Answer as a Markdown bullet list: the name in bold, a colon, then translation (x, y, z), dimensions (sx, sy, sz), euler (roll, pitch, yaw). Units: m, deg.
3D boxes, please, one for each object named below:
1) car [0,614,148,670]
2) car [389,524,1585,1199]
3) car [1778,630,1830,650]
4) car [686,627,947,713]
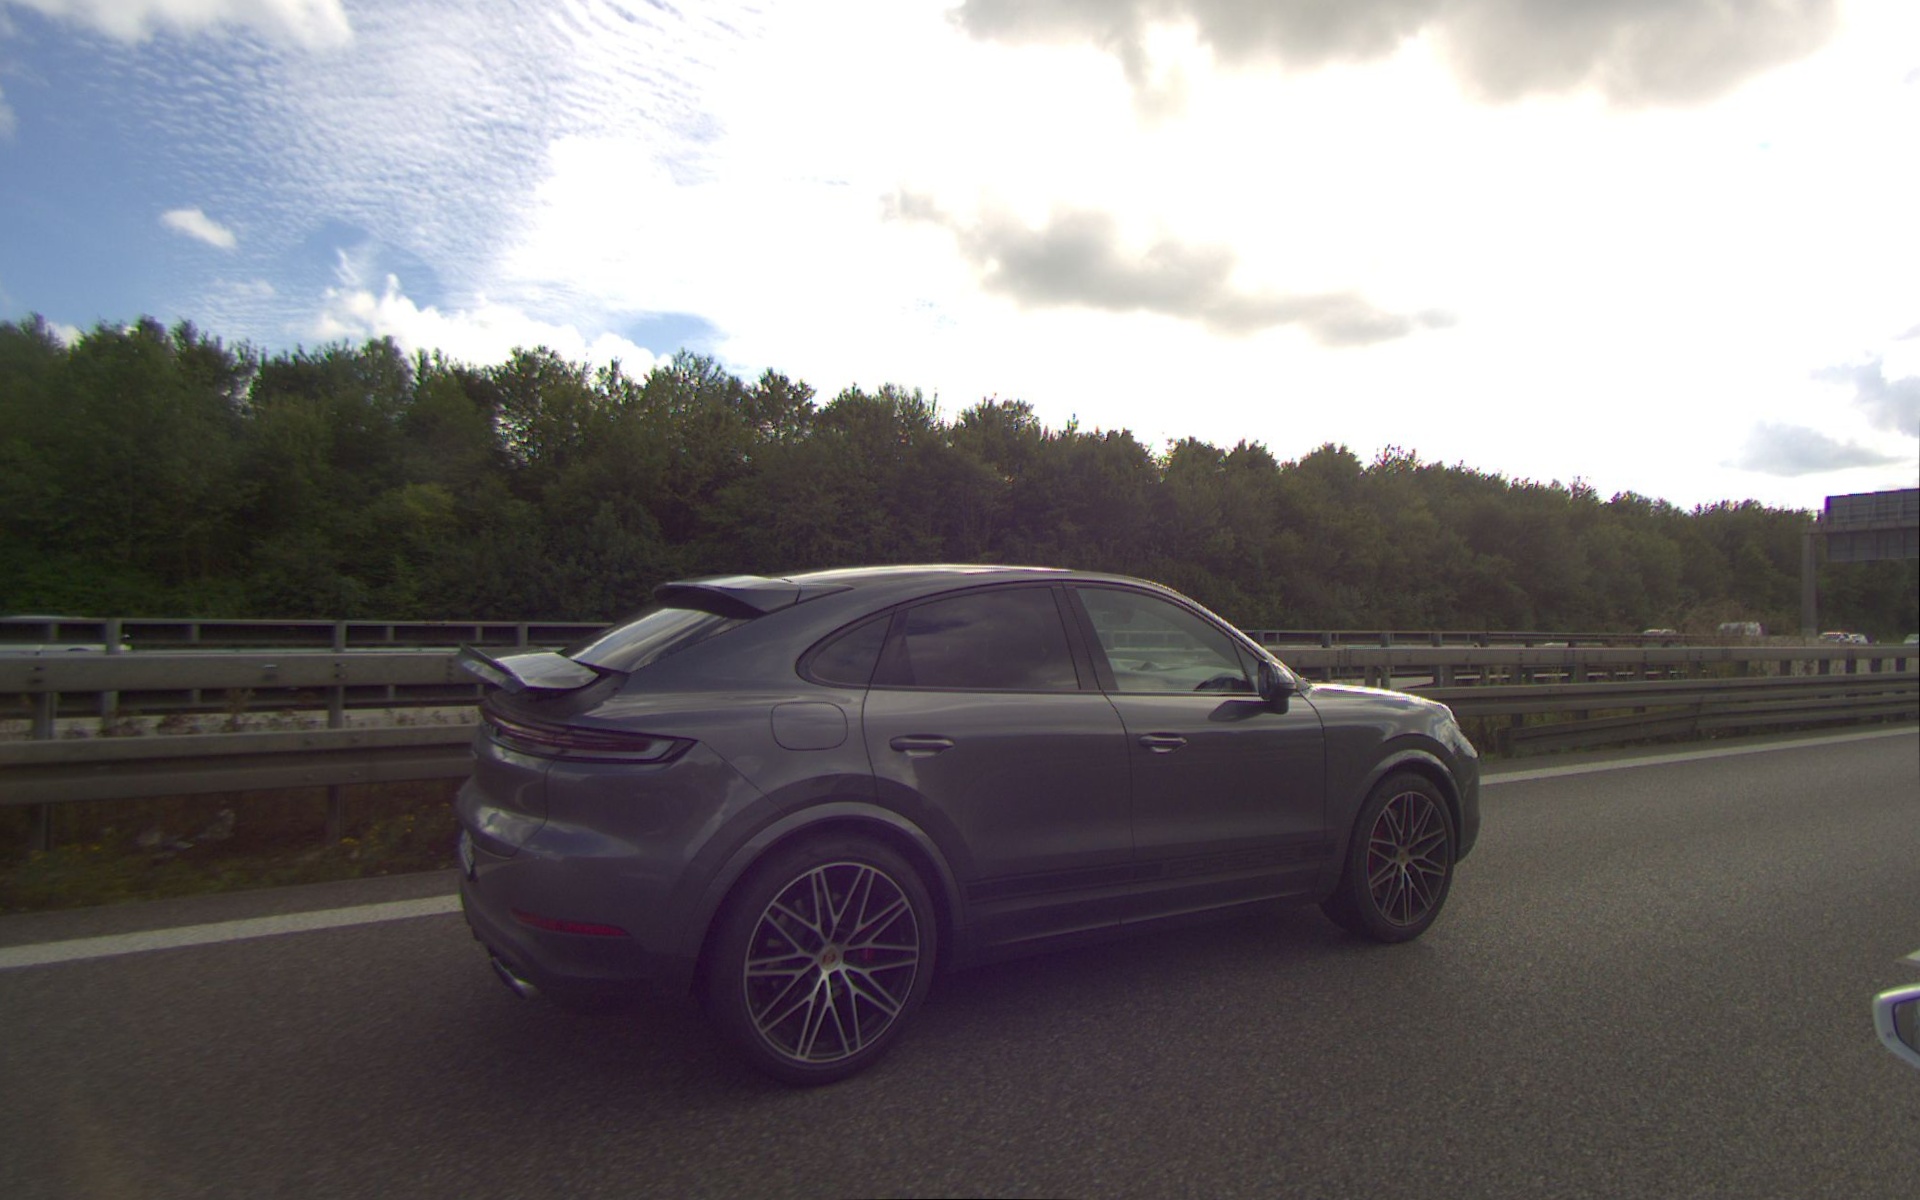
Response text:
- **car**: translation (-22.791, 1.016, 24.656), dimensions (4.199, 1.332, 1.634), euler (1, -2, -31)
- **car**: translation (0.479, 0.699, 4.698), dimensions (5.437, 1.658, 1.903), euler (1, -1, -31)
- **car**: translation (65.896, 3.106, 78.403), dimensions (4.315, 1.537, 1.669), euler (1, -2, -29)
- **car**: translation (-2.444, 1.160, 17.430), dimensions (4.199, 1.332, 1.635), euler (1, -3, -31)
